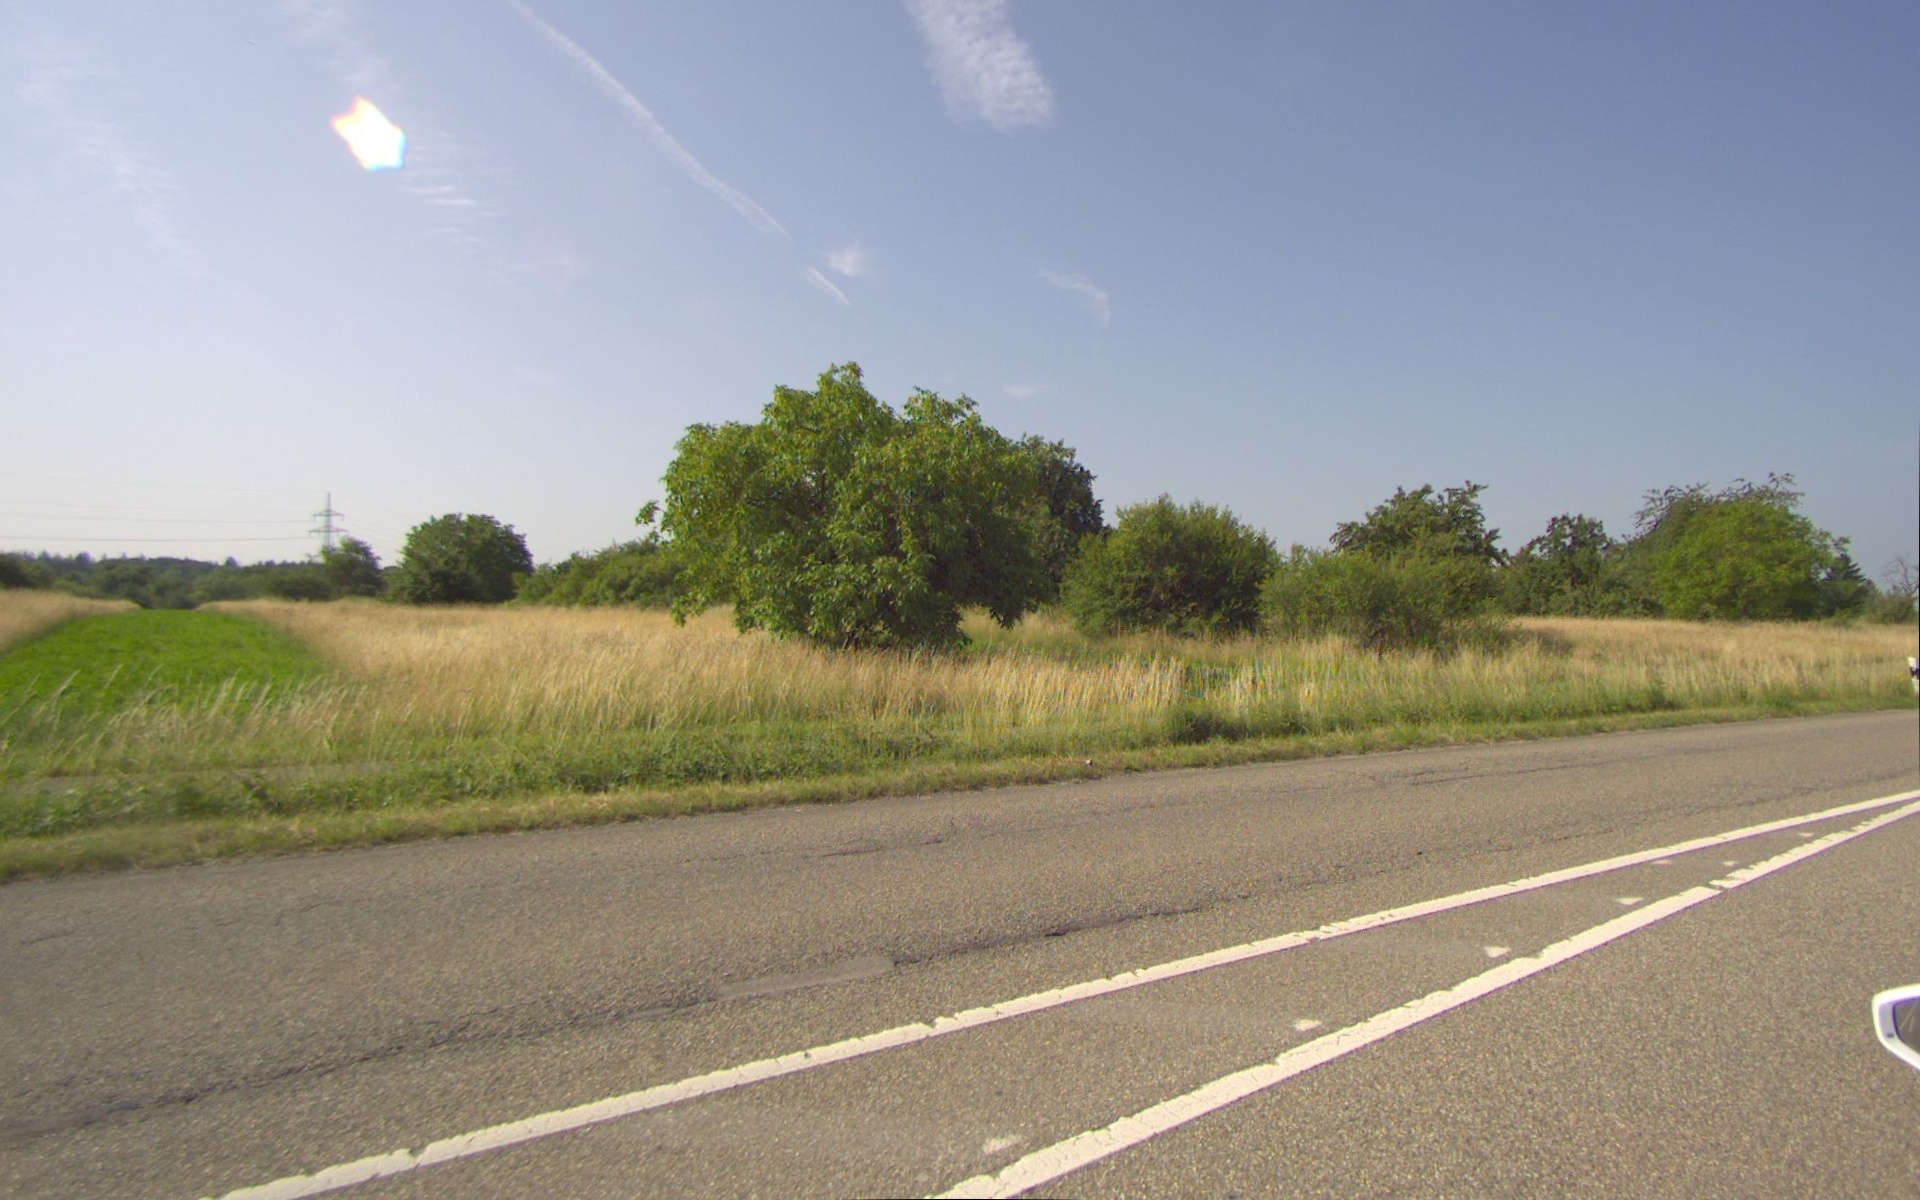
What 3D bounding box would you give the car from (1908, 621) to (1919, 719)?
[{"bbox_3d":[17.946,1.182,16.908,4.175,1.606,1.804,1,-1,-30],"label":"car"}]
